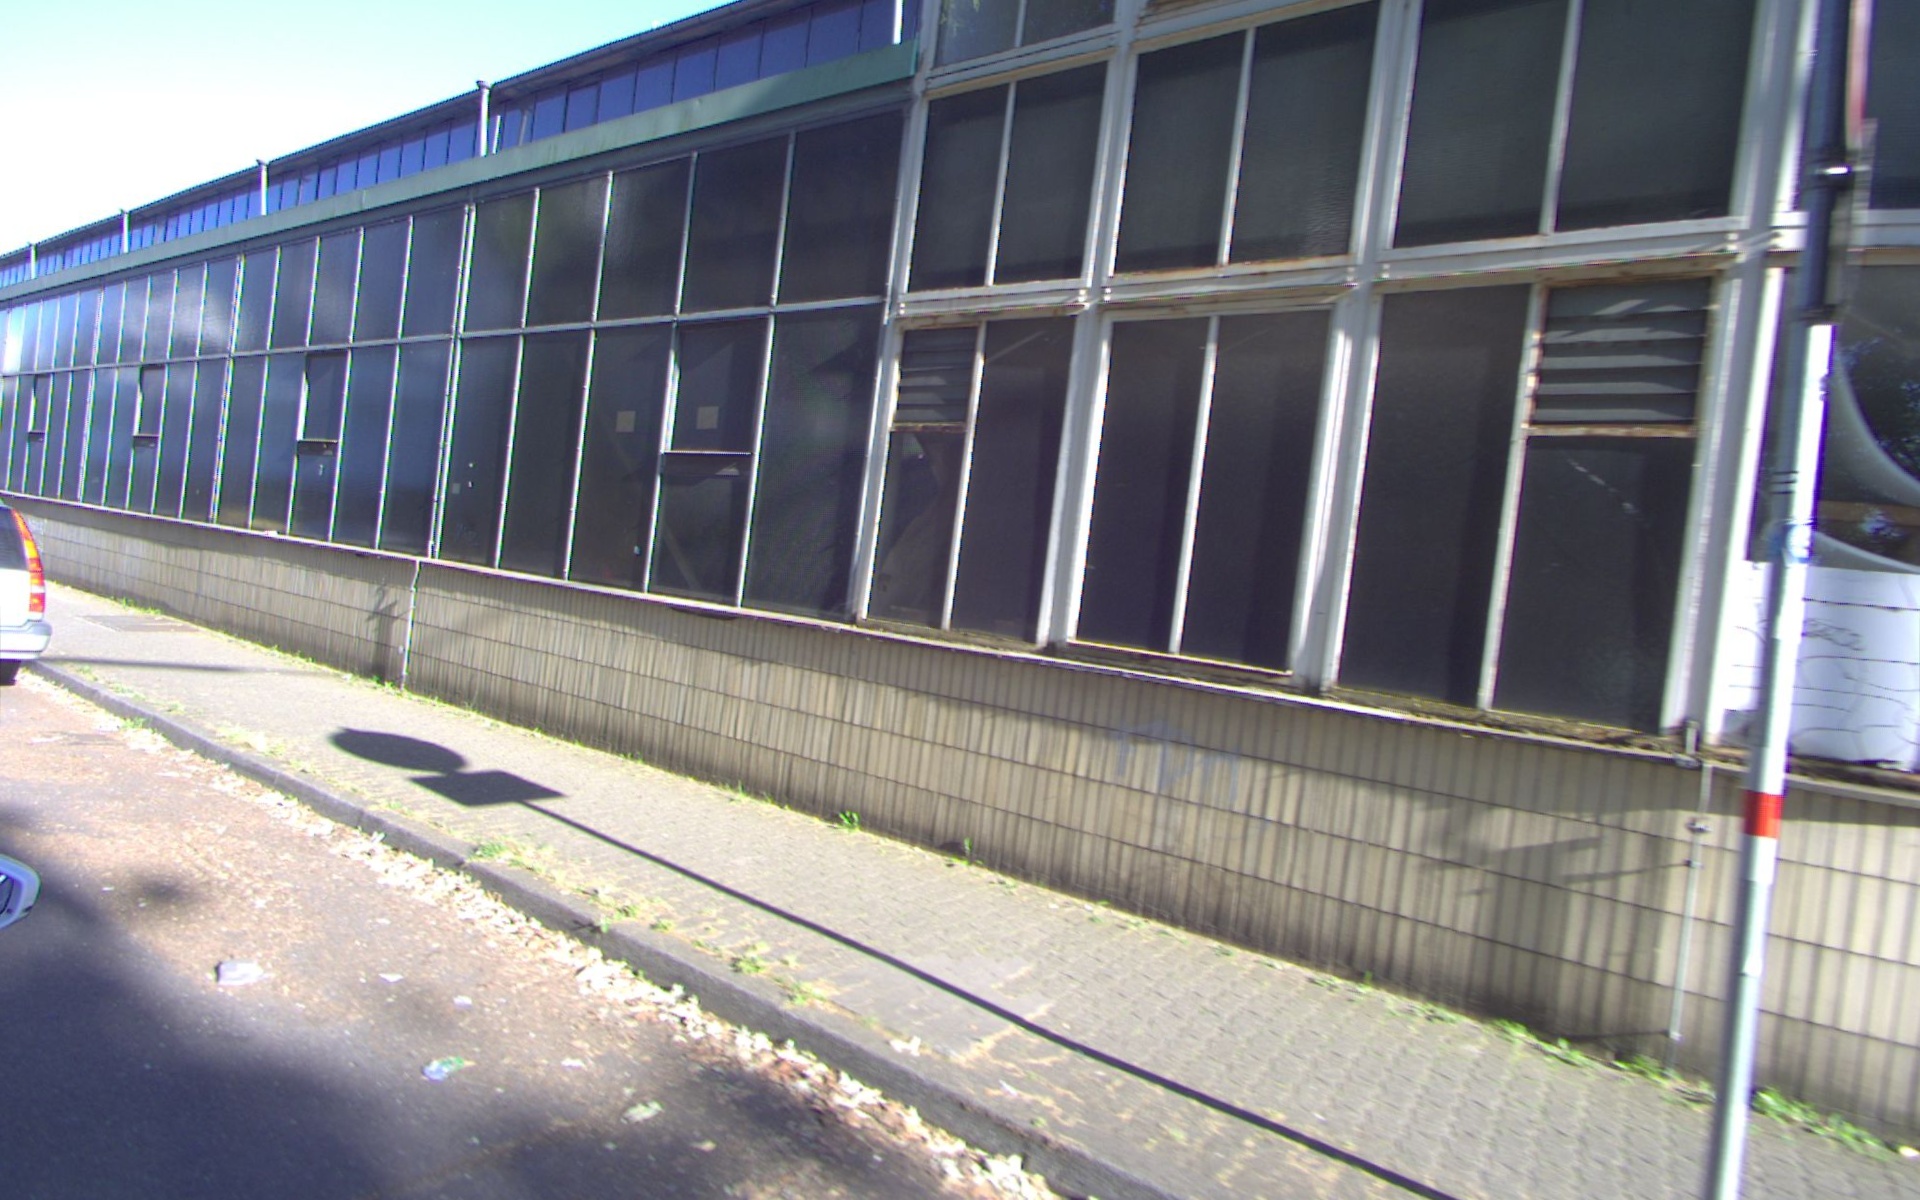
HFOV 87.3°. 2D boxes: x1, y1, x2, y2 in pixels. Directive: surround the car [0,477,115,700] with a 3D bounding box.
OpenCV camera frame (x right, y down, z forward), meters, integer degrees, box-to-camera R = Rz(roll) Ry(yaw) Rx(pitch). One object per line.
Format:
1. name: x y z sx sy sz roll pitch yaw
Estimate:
1. car: -8.617 -0.316 7.745 4.455 1.510 1.903 6 -2 33
